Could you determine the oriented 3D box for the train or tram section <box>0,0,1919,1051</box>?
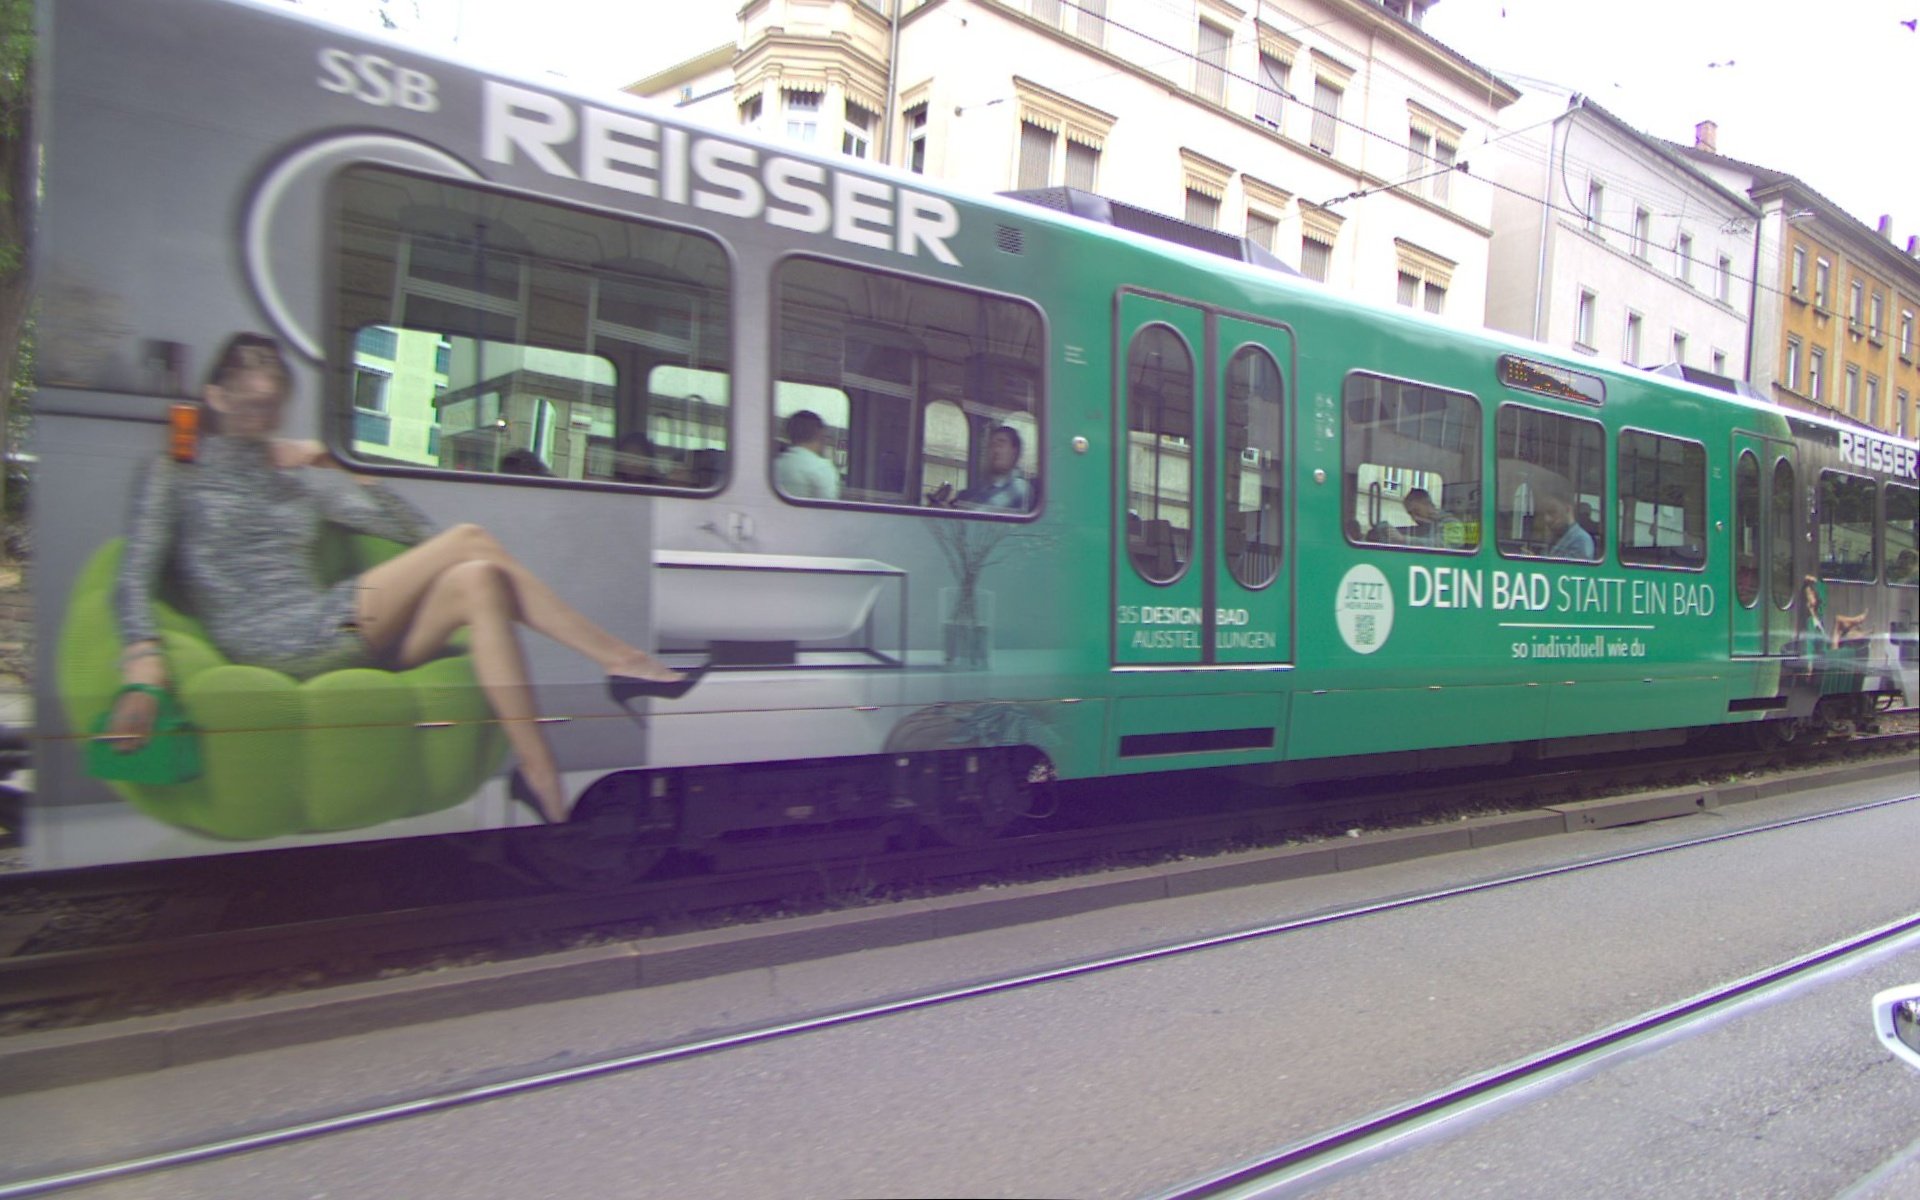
[{"bbox_3d":[3.097,-0.464,8.111,18.539,3.776,2.861,1,2,-31],"label":"train or tram section"}]
